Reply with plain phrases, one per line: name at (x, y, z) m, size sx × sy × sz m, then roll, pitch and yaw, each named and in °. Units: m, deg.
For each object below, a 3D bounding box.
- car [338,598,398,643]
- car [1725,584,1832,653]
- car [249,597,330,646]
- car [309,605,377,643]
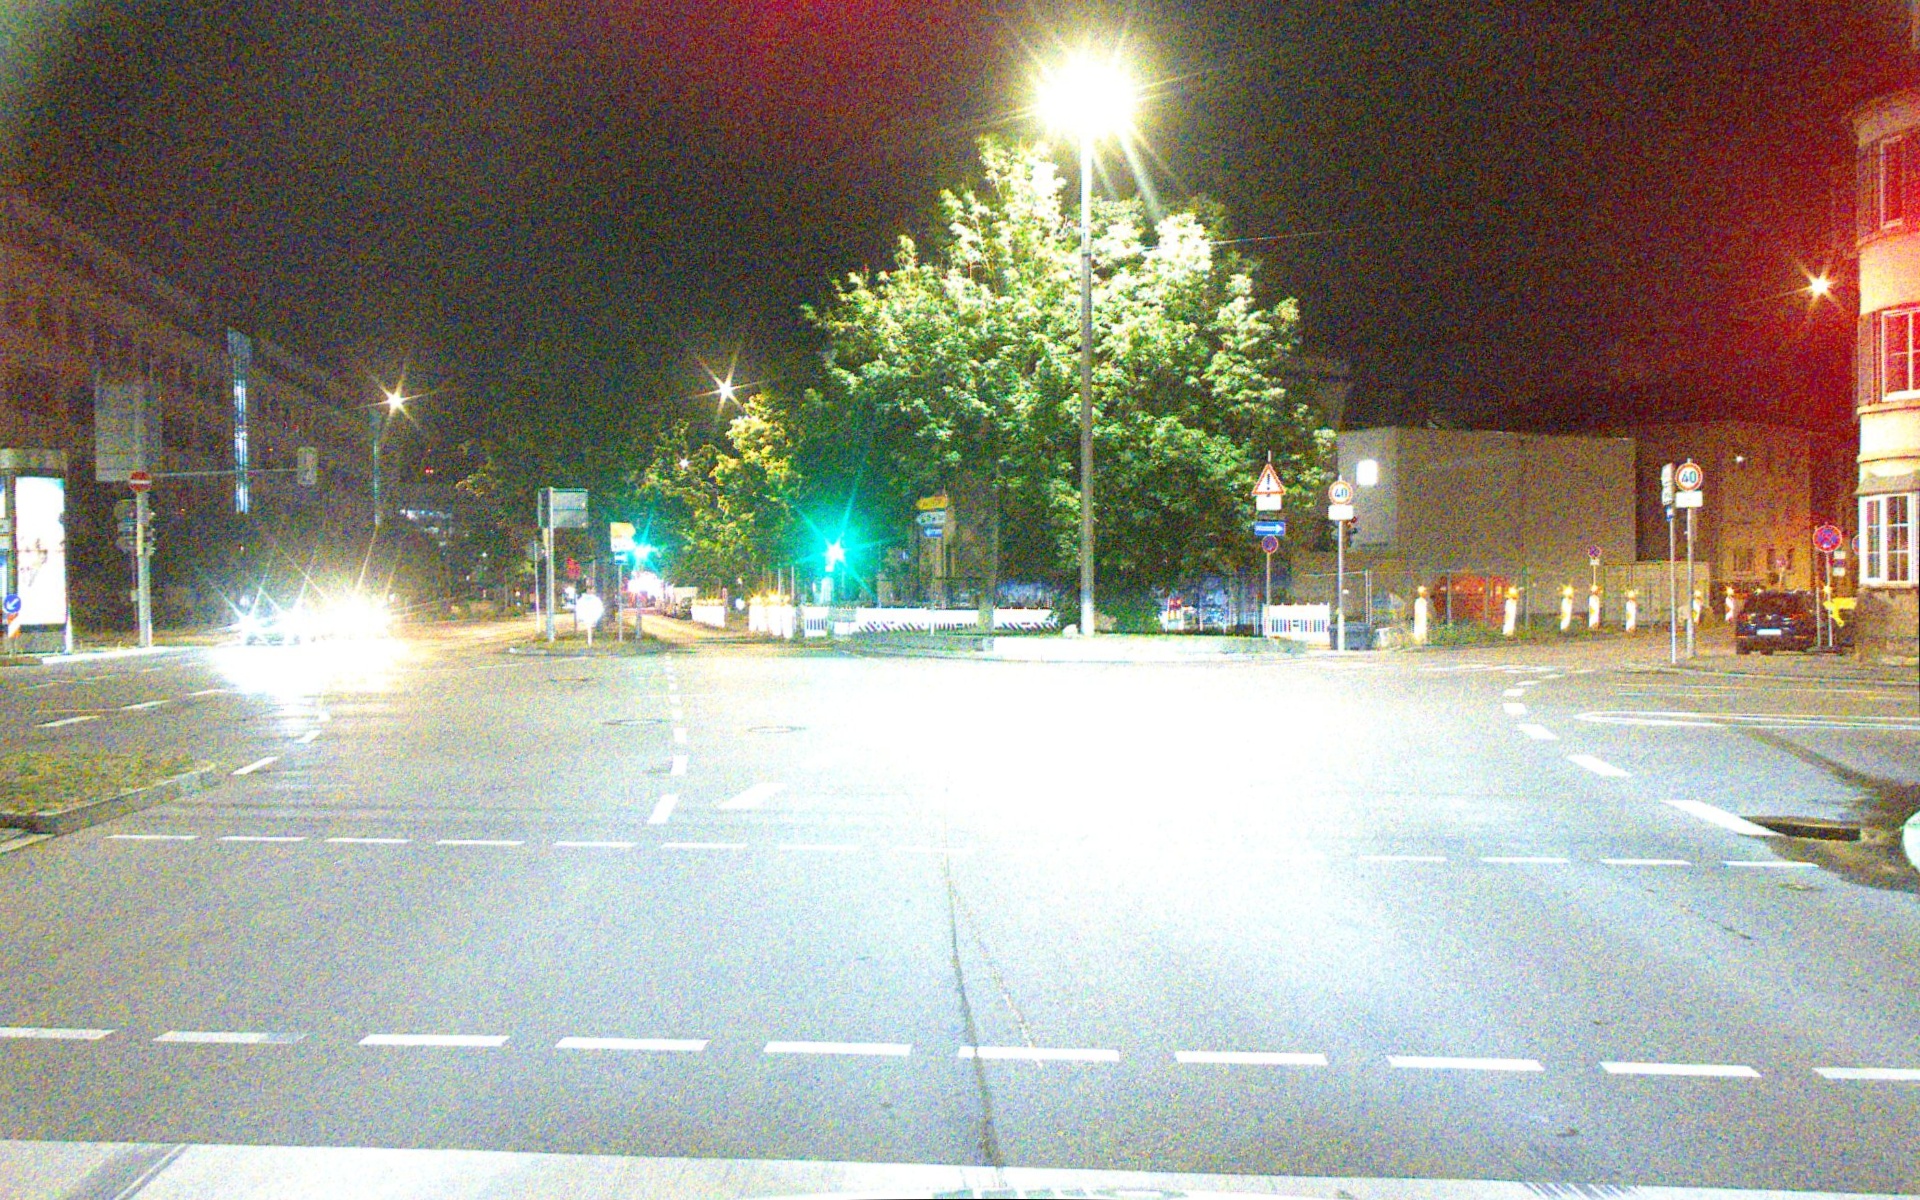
car at (-24.086, 0.818, 67.389) m, size 1.726 × 1.758 × 3.539 m, roll 0°, pitch -1°, yaw -10°
car at (20.491, 0.450, 41.336) m, size 1.700 × 1.640 × 3.607 m, roll -1°, pitch -1°, yaw 38°
car at (-21.869, 0.698, 54.065) m, size 1.586 × 1.541 × 3.991 m, roll 0°, pitch -1°, yaw -9°
car at (-22.809, 0.880, 61.285) m, size 1.726 × 1.345 × 3.539 m, roll 0°, pitch -1°, yaw -10°
